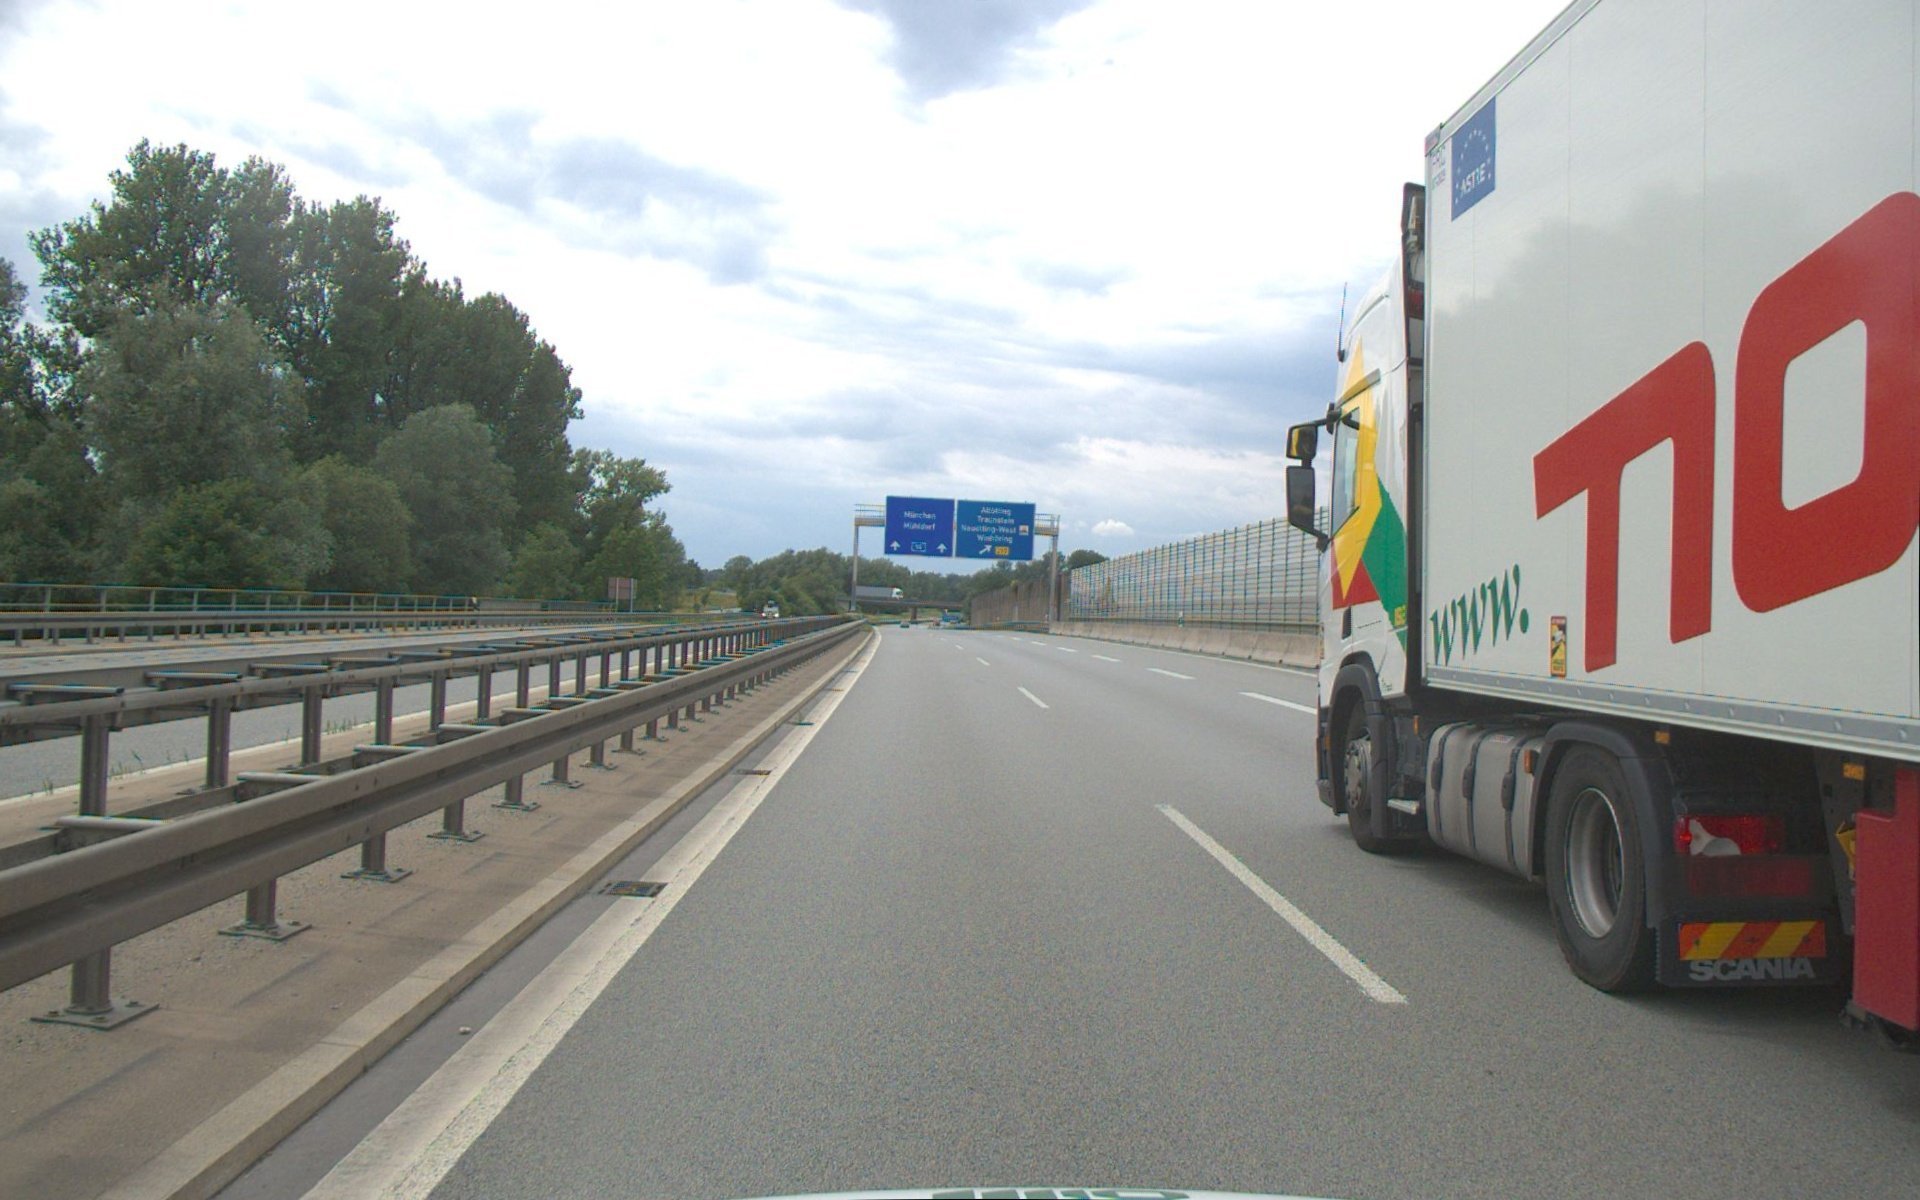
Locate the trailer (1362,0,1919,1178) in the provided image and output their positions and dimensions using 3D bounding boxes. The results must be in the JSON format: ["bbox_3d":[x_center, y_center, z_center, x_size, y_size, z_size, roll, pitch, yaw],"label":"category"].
[{"bbox_3d":[3.876,-0.629,2.759,2.736,4.248,14.100,1,0,-1],"label":"trailer"}]

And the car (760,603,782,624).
[{"bbox_3d":[-19.408,1.429,169.795,1.954,2.038,4.739,2,-1,-4],"label":"car"}]

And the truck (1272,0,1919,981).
[{"bbox_3d":[3.762,-0.447,9.630,2.700,4.029,5.676,1,0,-1],"label":"truck"}]
